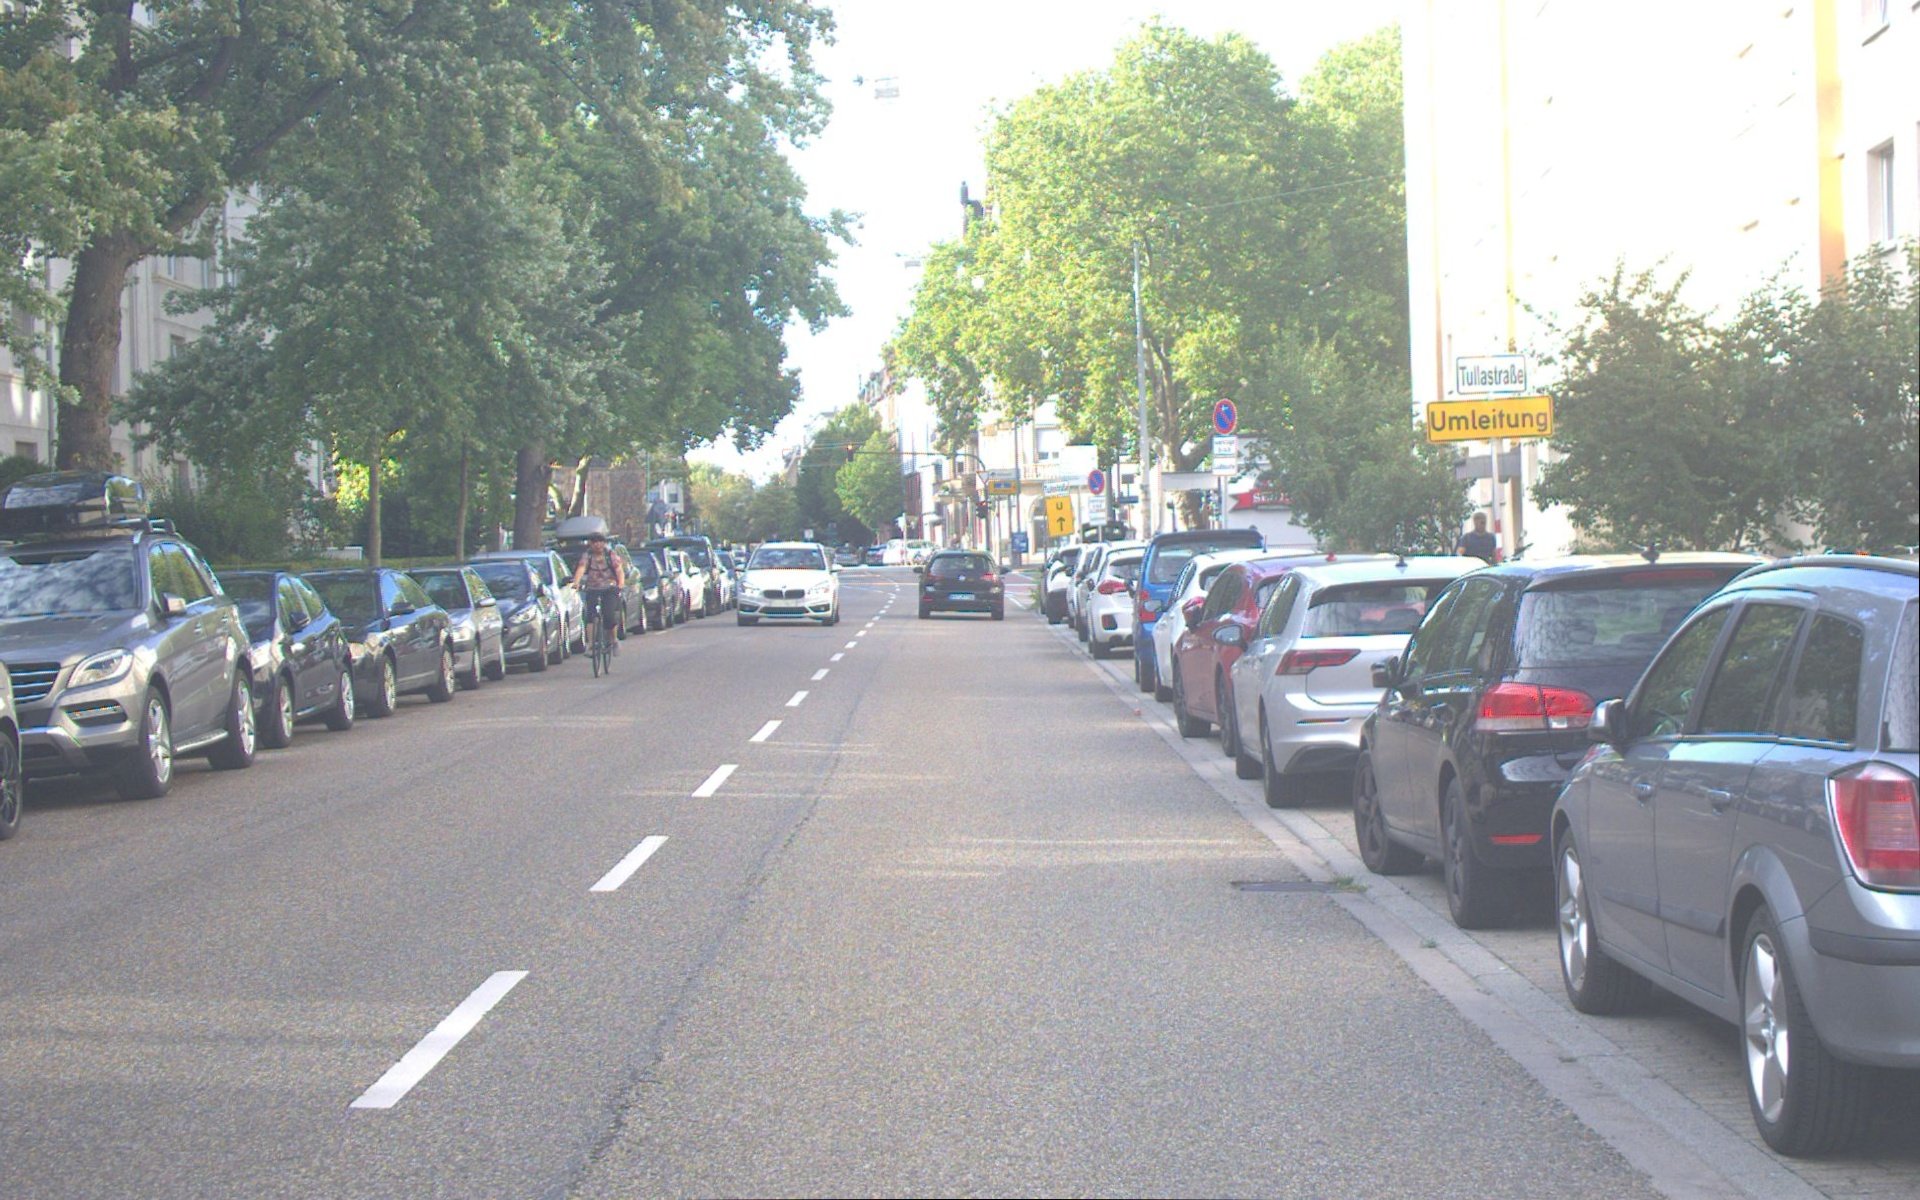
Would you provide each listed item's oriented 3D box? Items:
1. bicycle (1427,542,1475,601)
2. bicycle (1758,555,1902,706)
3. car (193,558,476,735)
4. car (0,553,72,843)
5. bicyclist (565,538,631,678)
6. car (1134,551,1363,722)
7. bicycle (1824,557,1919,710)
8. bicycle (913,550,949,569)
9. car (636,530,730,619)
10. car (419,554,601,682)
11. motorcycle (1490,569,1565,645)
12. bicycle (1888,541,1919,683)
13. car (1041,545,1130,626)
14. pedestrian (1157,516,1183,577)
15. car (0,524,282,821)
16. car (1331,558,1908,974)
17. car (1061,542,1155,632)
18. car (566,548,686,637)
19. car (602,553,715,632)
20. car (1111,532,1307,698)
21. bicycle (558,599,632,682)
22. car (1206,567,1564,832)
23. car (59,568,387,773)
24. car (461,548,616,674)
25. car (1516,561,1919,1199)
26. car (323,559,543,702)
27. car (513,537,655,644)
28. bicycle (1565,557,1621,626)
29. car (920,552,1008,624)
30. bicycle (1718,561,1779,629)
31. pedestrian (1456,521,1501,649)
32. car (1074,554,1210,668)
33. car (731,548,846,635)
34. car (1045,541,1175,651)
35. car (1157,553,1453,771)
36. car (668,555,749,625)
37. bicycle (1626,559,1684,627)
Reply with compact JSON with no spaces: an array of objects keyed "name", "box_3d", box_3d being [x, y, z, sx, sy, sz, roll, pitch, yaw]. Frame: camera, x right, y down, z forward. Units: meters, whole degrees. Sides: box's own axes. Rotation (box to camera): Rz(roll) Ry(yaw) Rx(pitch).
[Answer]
[{"name":"bicycle","box_3d":[9.741,-0.574,68.324,0.597,1.111,2.209,-3,1,0]},{"name":"bicycle","box_3d":[7.791,0.245,30.894,0.604,1.286,2.635,-2,1,0]},{"name":"car","box_3d":[-6.113,0.406,34.092,1.685,1.475,4.451,-5,1,3]},{"name":"car","box_3d":[-6.183,0.598,17.848,1.855,1.568,4.460,-3,1,1]},{"name":"bicyclist","box_3d":[-4.216,0.085,40.057,0.641,1.595,0.990,-1,1,0]},{"name":"car","box_3d":[2.678,0.296,32.730,1.728,1.456,4.117,-2,1,-1]},{"name":"bicycle","box_3d":[8.429,0.272,30.918,0.604,1.286,2.635,-3,1,0]},{"name":"bicycle","box_3d":[-1.750,-2.425,206.676,2.022,1.078,0.620,-2,1,-13]},{"name":"car","box_3d":[-6.262,-0.602,77.974,1.723,1.876,4.192,-3,1,0]},{"name":"car","box_3d":[-5.752,0.195,44.364,1.614,1.463,4.013,-4,1,2]},{"name":"motorcycle","box_3d":[8.091,0.088,49.084,0.630,1.041,2.394,-1,1,-1]},{"name":"bicycle","box_3d":[9.029,0.103,30.891,0.595,1.286,2.635,-4,1,0]},{"name":"car","box_3d":[2.505,-0.306,68.166,1.690,1.523,4.237,-1,1,2]},{"name":"pedestrian","box_3d":[5.703,-1.465,93.471,0.652,1.639,0.743,-1,1,0]},{"name":"car","box_3d":[-6.111,0.436,23.702,1.877,1.787,4.971,-3,1,-1]},{"name":"car","box_3d":[2.699,0.601,14.930,1.662,1.486,3.942,-3,1,0]},{"name":"car","box_3d":[2.657,-0.250,62.249,1.551,1.552,3.468,-1,1,0]},{"name":"car","box_3d":[-6.156,-0.166,63.618,1.700,1.482,3.848,-4,1,1]},{"name":"car","box_3d":[-6.318,-0.177,72.545,1.694,1.488,4.332,-3,1,3]},{"name":"car","box_3d":[2.660,0.129,37.541,1.728,1.644,4.117,-2,1,-1]},{"name":"bicycle","box_3d":[-4.247,0.462,40.095,0.642,0.920,1.858,-1,1,0]},{"name":"car","box_3d":[2.563,0.548,21.595,1.662,1.411,4.059,-3,1,0]},{"name":"car","box_3d":[-6.216,0.542,29.451,1.685,1.475,4.119,-5,1,2]},{"name":"car","box_3d":[-6.049,0.131,49.753,1.738,1.614,3.995,-4,1,-1]},{"name":"car","box_3d":[2.781,0.666,9.674,1.683,1.480,4.293,-2,1,0]},{"name":"car","box_3d":[-6.015,0.309,39.639,1.600,1.414,3.964,-4,1,3]},{"name":"car","box_3d":[-6.450,-0.196,59.437,1.799,1.662,4.482,-4,1,1]},{"name":"bicycle","box_3d":[9.016,-0.131,49.021,0.458,0.938,1.517,-2,1,-1]},{"name":"car","box_3d":[0.053,-0.278,71.255,1.751,1.409,4.000,-1,1,-1]},{"name":"bicycle","box_3d":[11.199,-0.077,48.846,0.458,0.924,1.517,-2,1,-1]},{"name":"pedestrian","box_3d":[7.080,-0.209,46.972,0.542,1.715,0.771,-1,1,5]},{"name":"car","box_3d":[2.480,0.115,47.713,1.728,1.482,4.641,-1,1,1]},{"name":"car","box_3d":[-3.178,-0.183,64.469,1.859,1.523,4.011,-1,1,1]},{"name":"car","box_3d":[2.307,-0.091,53.713,1.728,1.575,4.117,-2,1,-1]},{"name":"car","box_3d":[2.623,0.424,27.029,1.728,1.510,4.191,-2,1,-2]},{"name":"car","box_3d":[-6.387,-0.268,87.612,1.799,1.614,3.803,-4,1,-2]},{"name":"bicycle","box_3d":[9.847,-0.104,48.727,0.458,0.924,1.517,-2,1,-1]}]
